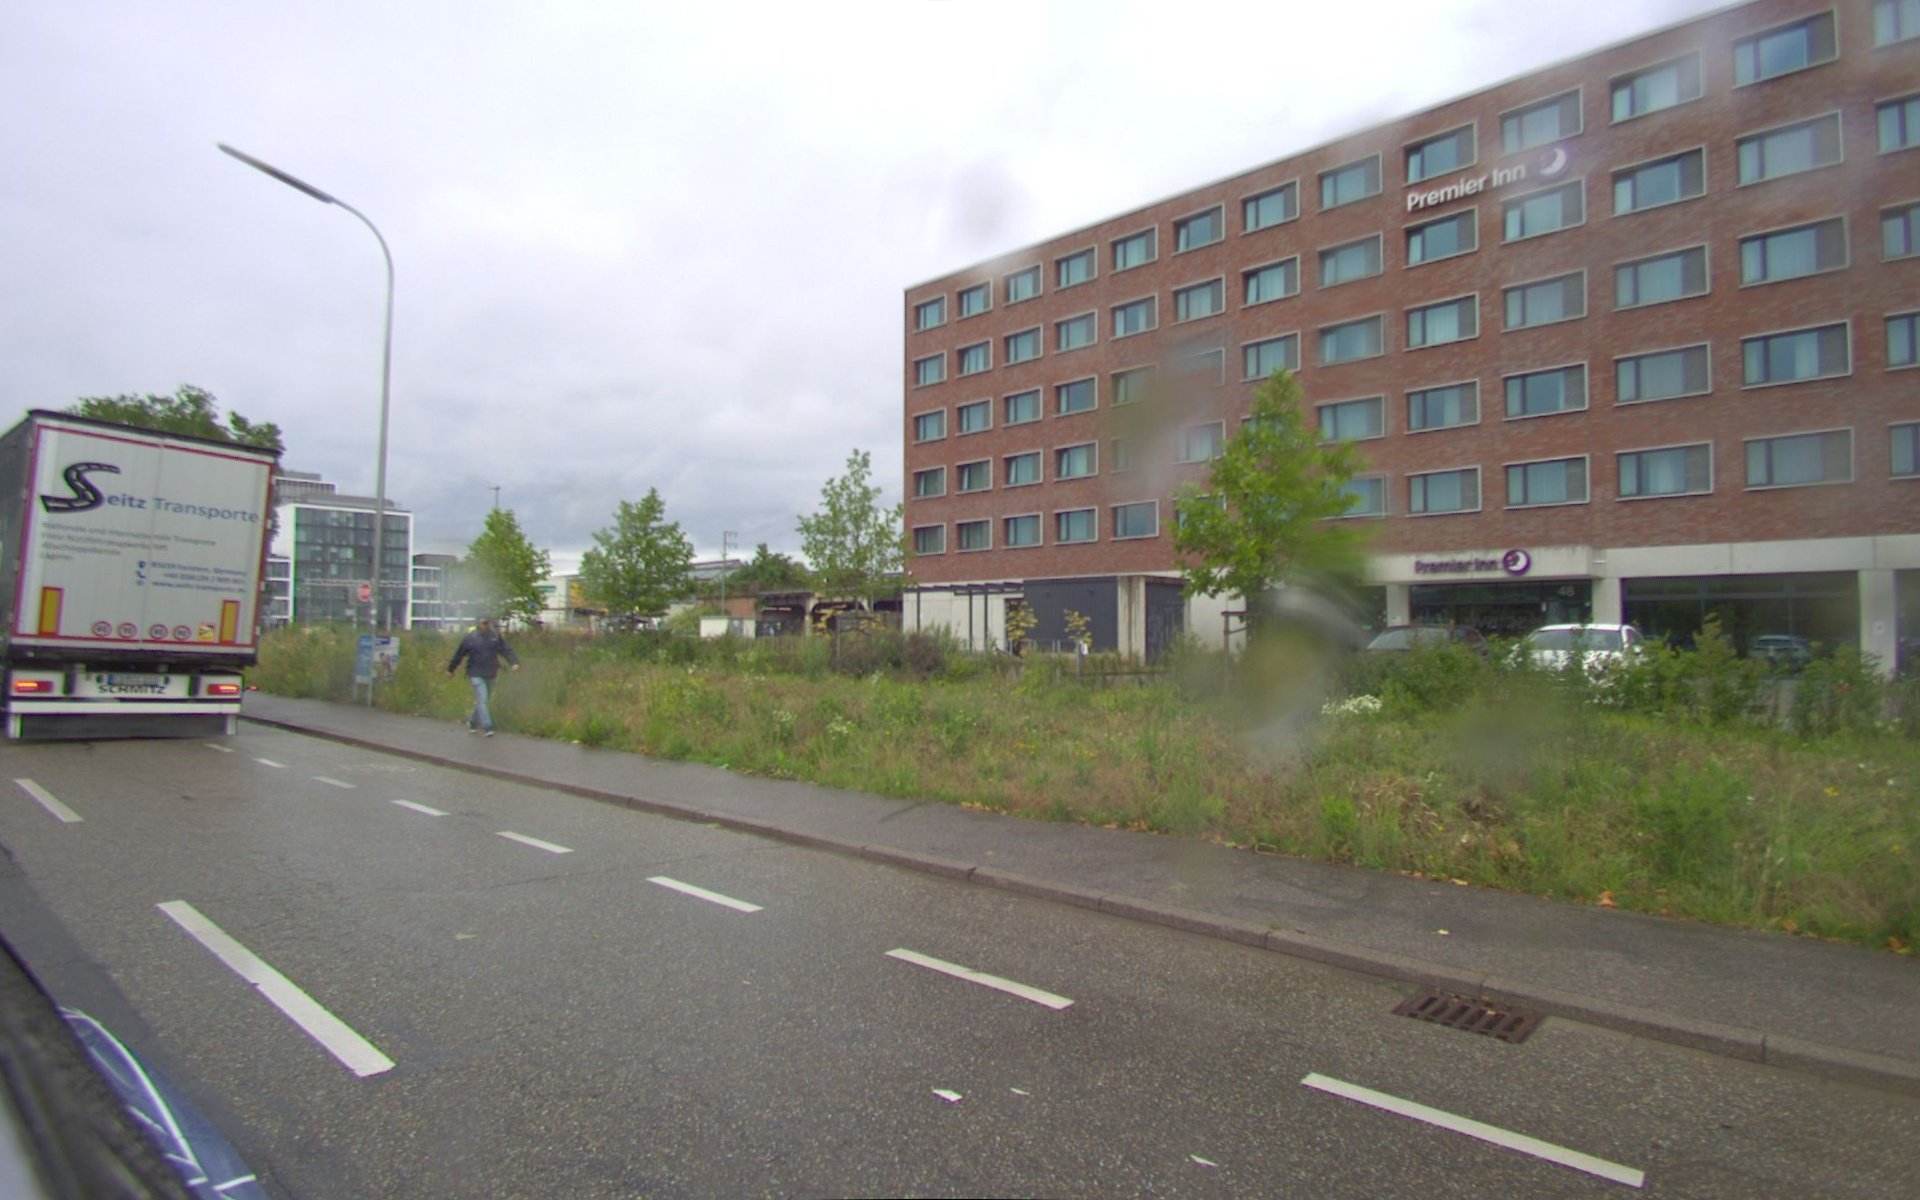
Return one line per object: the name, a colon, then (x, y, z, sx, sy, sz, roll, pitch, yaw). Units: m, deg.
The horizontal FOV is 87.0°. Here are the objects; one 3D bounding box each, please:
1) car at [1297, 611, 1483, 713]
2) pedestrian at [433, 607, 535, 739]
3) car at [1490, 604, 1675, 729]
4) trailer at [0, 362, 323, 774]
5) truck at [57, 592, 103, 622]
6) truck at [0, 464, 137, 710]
car: (7.792, 1.045, 18.105, 1.997, 1.592, 4.478, -1, -2, 38)
pedestrian: (-6.573, 0.979, 13.982, 1.026, 1.731, 0.899, -1, -3, 41)
car: (9.874, 0.968, 15.894, 1.997, 1.654, 4.478, -1, -2, 38)
trailer: (-15.136, -0.192, 17.138, 13.722, 4.689, 3.260, -1, -3, 40)
truck: (-81.794, 0.732, 94.064, 6.971, 2.639, 2.063, -1, -3, 40)
truck: (-20.387, -0.186, 21.540, 6.028, 4.689, 3.260, -1, -3, 40)
